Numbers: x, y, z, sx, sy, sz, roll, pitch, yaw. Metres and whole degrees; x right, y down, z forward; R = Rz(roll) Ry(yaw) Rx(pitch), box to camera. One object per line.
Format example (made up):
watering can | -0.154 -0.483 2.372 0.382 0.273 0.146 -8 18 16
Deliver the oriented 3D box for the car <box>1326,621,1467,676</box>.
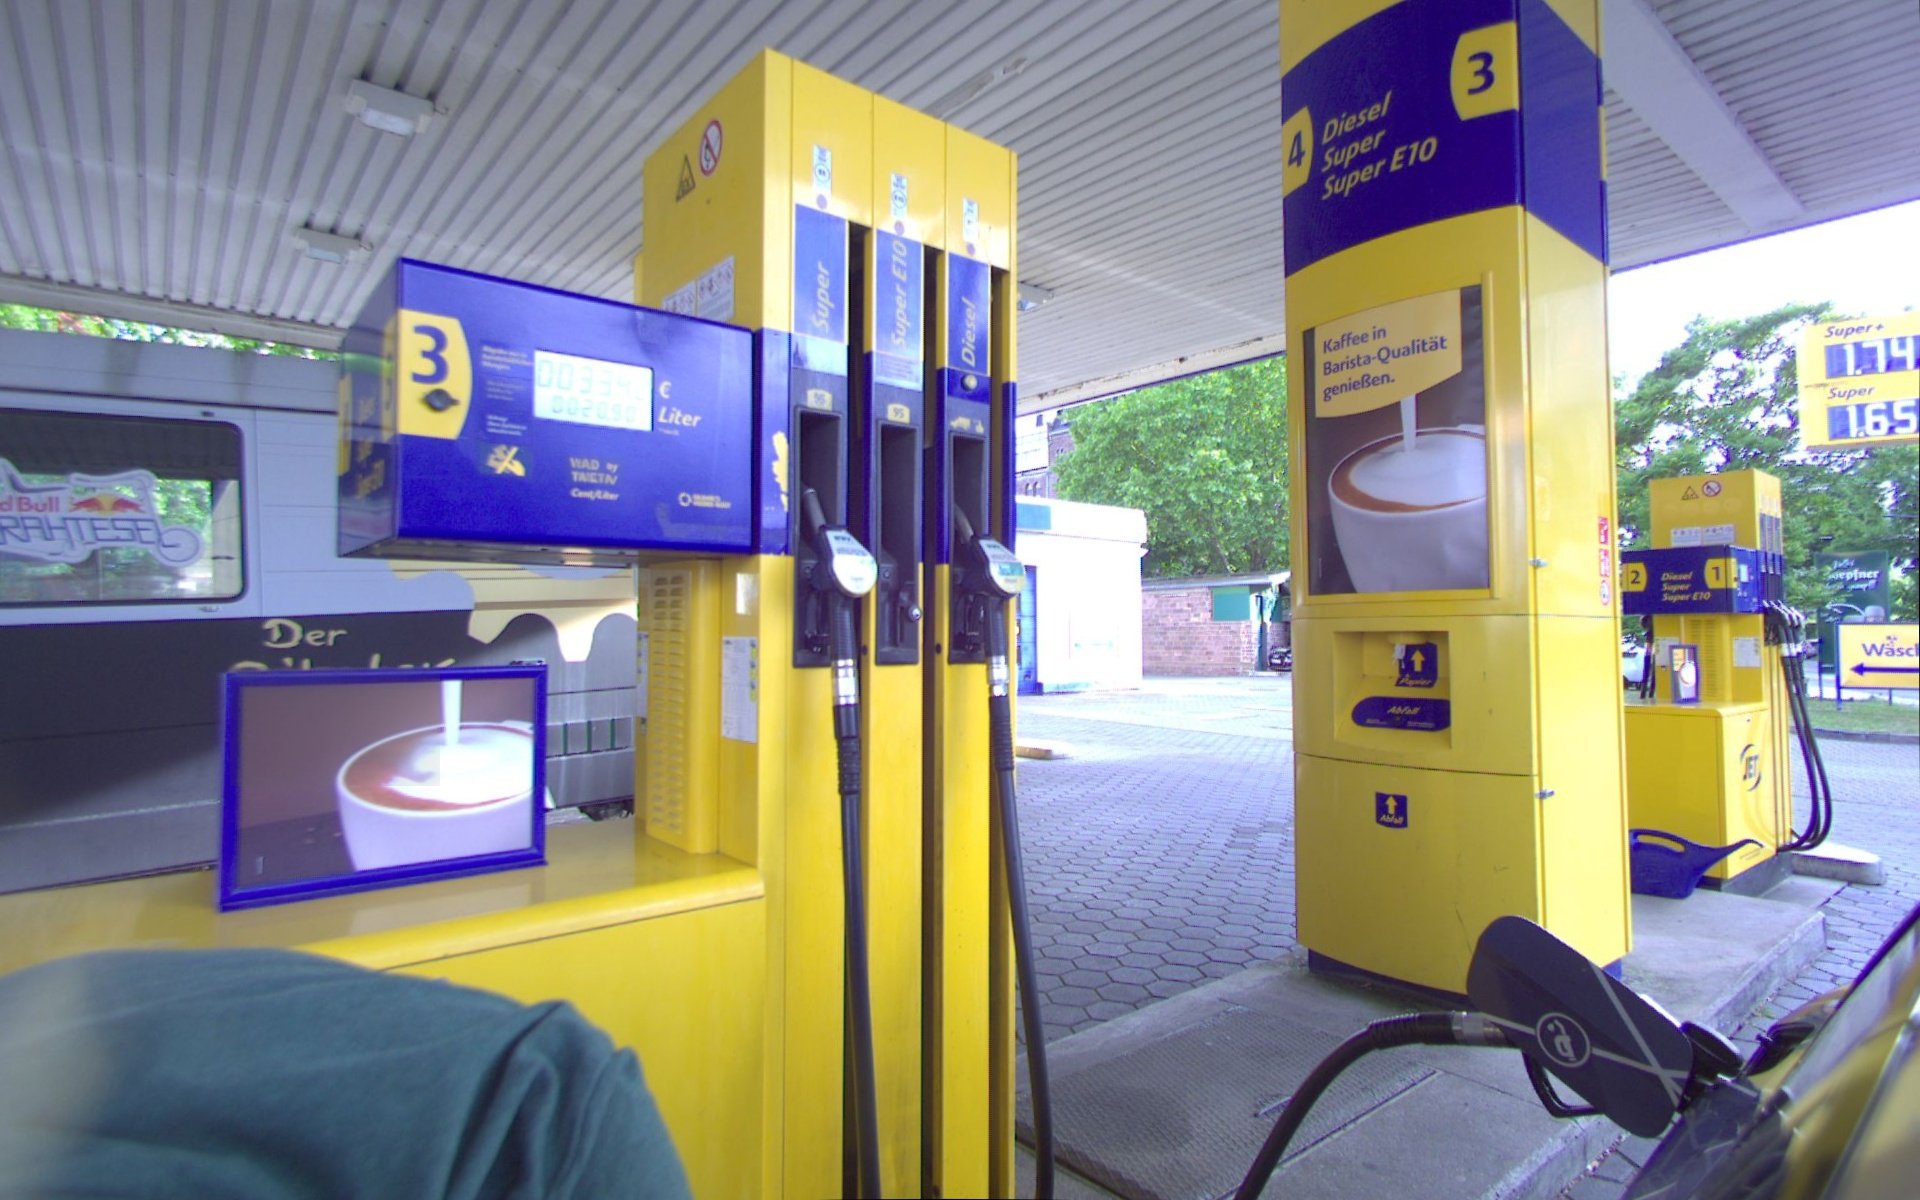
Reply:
car | 13.884 1.533 32.134 4.303 1.622 1.777 2 -1 -28

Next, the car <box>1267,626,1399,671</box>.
car | 12.688 1.656 34.425 4.303 1.393 1.777 2 -1 -28

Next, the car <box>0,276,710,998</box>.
car | -4.110 0.158 4.890 5.197 2.726 2.258 1 -2 -39

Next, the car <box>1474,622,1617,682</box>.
car | 17.844 1.592 30.799 4.303 1.622 1.776 4 -4 -28

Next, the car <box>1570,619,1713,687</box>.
car | 18.354 1.449 27.200 4.308 1.622 1.774 4 -4 -35

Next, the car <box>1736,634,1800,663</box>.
car | 43.782 2.591 54.944 1.737 1.487 4.527 -1 -2 26

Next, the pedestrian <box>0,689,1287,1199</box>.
pedestrian | -0.335 0.746 0.543 0.662 1.298 0.751 0 0 -41
